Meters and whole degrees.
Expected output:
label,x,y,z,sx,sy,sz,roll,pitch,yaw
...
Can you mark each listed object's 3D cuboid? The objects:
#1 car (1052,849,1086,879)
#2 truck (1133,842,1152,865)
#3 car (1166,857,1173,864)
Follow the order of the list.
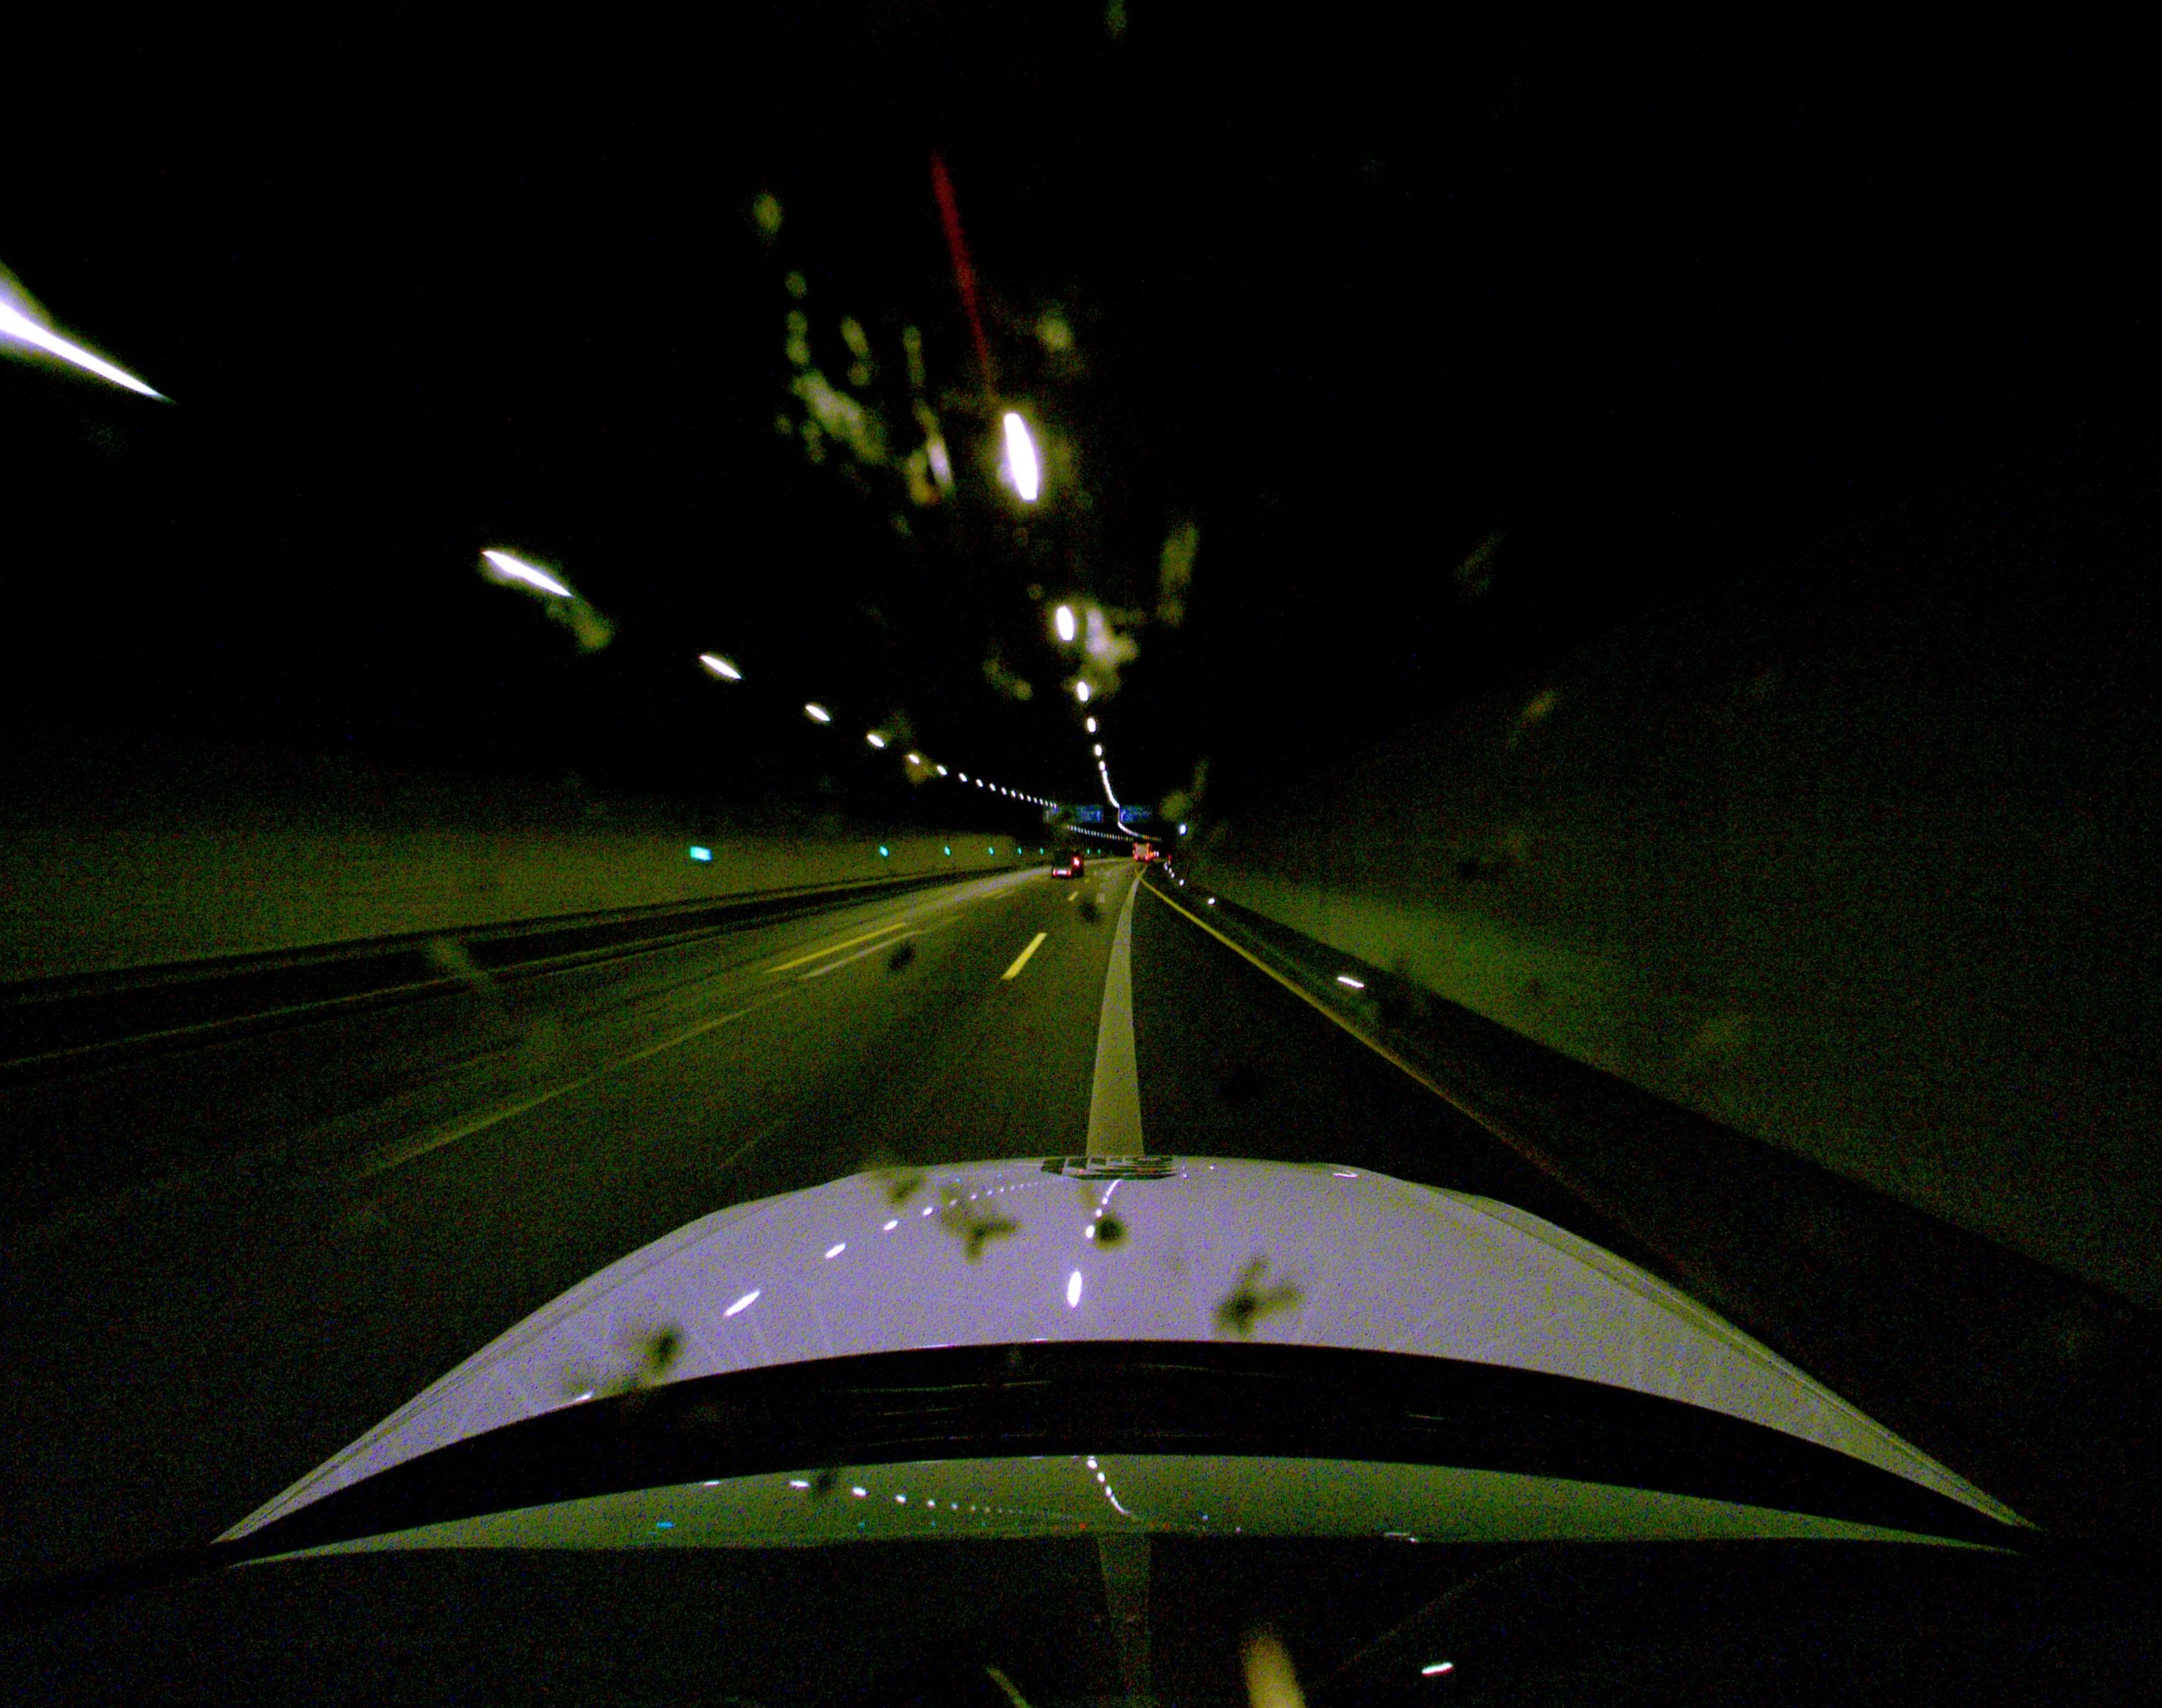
label,x,y,z,sx,sy,sz,roll,pitch,yaw
car,-0.801,0.746,56.373,1.985,1.895,5.455,-1,-2,2
truck,12.492,-0.112,164.059,3.457,4.316,10.969,1,0,6
car,24.345,1.854,224.099,1.983,1.895,5.543,-1,0,7
